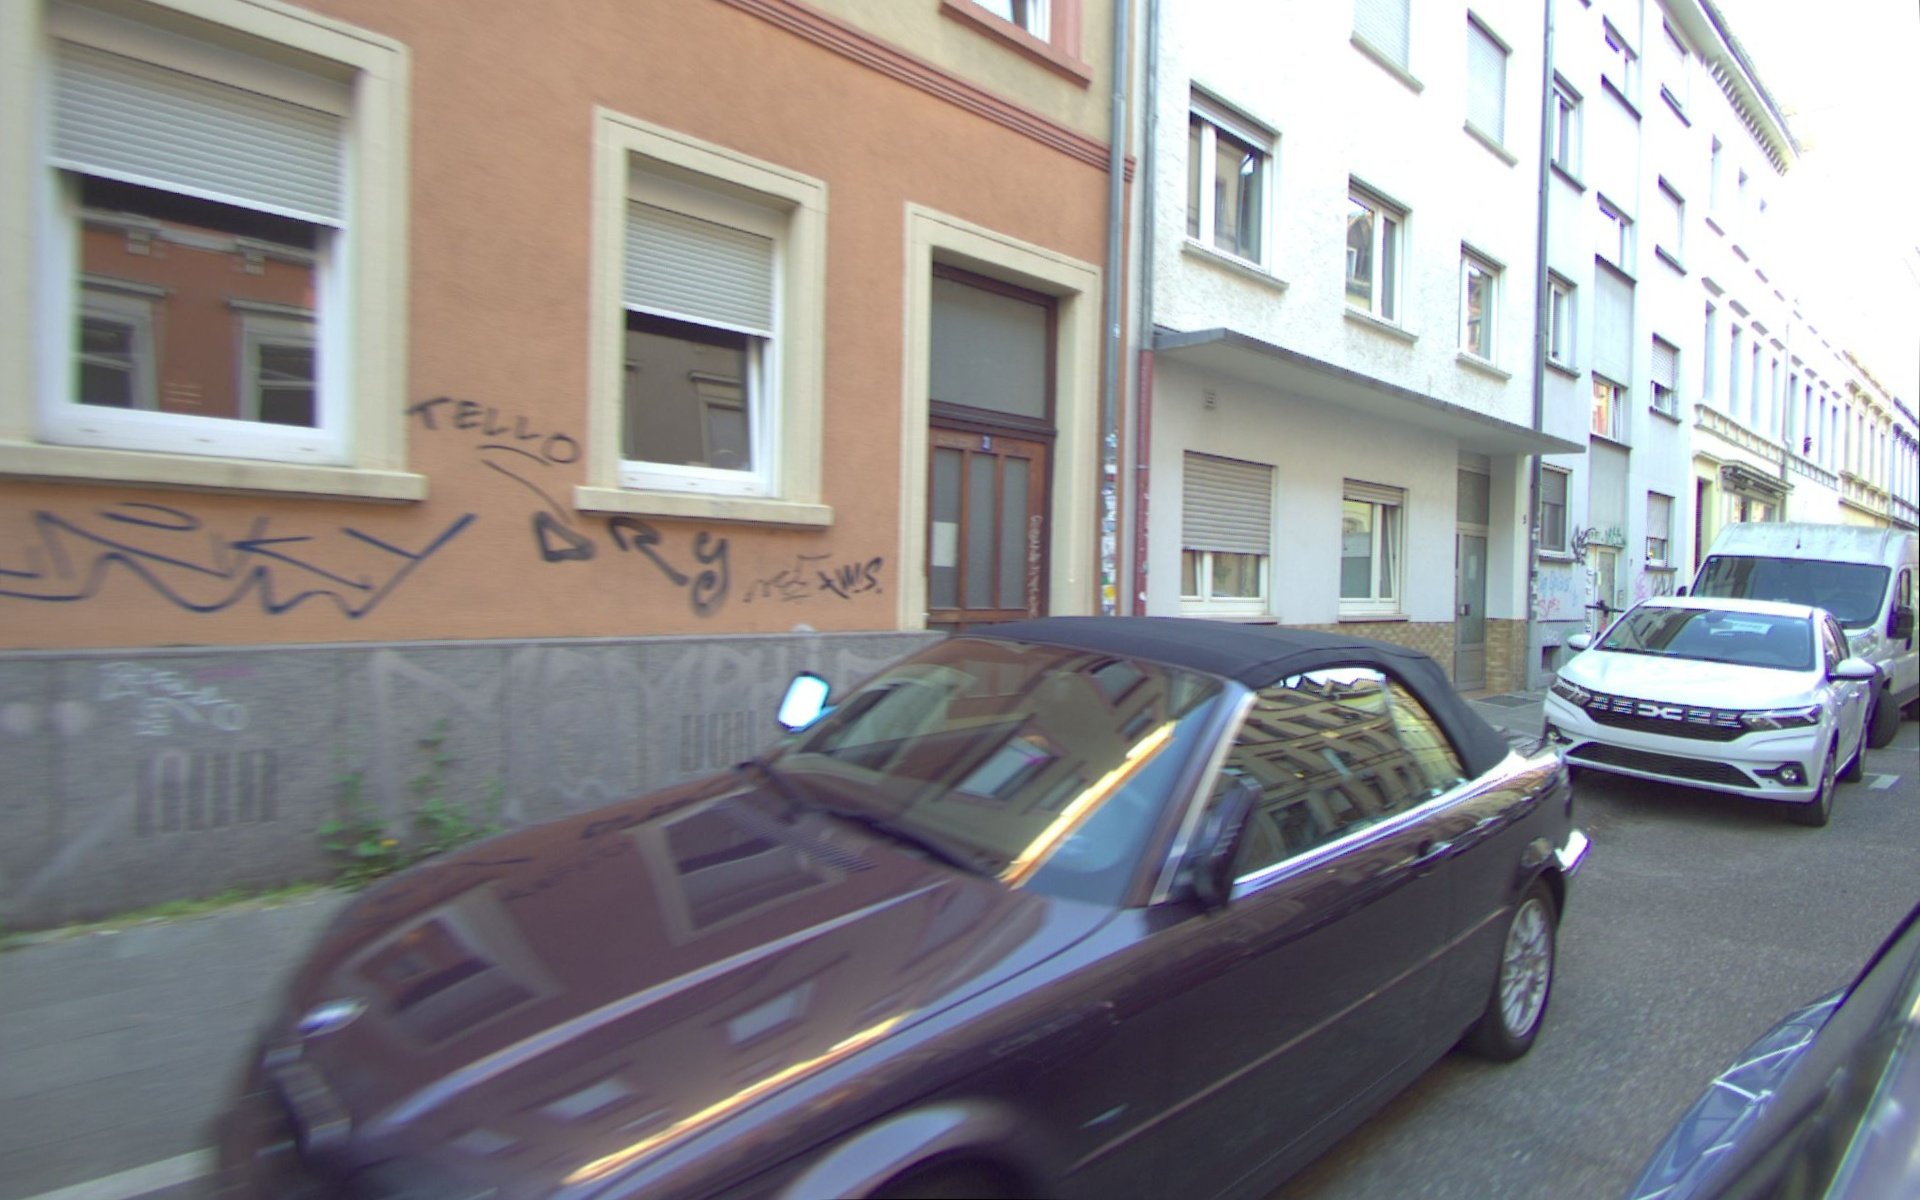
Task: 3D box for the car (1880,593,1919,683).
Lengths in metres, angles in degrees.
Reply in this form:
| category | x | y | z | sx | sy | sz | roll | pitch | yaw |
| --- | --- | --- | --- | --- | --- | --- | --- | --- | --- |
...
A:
| category | x | y | z | sx | sy | sz | roll | pitch | yaw |
| --- | --- | --- | --- | --- | --- | --- | --- | --- | --- |
| car | 18.604 | 0.664 | 18.887 | 3.792 | 1.585 | 1.682 | 0 | 0 | -41 |

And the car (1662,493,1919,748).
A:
| category | x | y | z | sx | sy | sz | roll | pitch | yaw |
| --- | --- | --- | --- | --- | --- | --- | --- | --- | --- |
| car | 11.074 | 0.195 | 12.797 | 5.915 | 2.545 | 2.049 | 0 | 0 | -39 |

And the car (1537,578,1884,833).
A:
| category | x | y | z | sx | sy | sz | roll | pitch | yaw |
| --- | --- | --- | --- | --- | --- | --- | --- | --- | --- |
| car | 6.204 | 0.647 | 8.201 | 3.796 | 1.579 | 1.680 | 0 | 0 | -44 |

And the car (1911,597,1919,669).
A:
| category | x | y | z | sx | sy | sz | roll | pitch | yaw |
| --- | --- | --- | --- | --- | --- | --- | --- | --- | --- |
| car | 22.344 | 0.691 | 22.318 | 3.793 | 1.539 | 1.681 | 0 | 0 | -42 |

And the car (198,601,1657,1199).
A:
| category | x | y | z | sx | sy | sz | roll | pitch | yaw |
| --- | --- | --- | --- | --- | --- | --- | --- | --- | --- |
| car | 0.494 | 0.717 | 3.117 | 4.418 | 1.412 | 1.769 | 0 | 0 | -42 |

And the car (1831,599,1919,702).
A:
| category | x | y | z | sx | sy | sz | roll | pitch | yaw |
| --- | --- | --- | --- | --- | --- | --- | --- | --- | --- |
| car | 15.024 | 0.719 | 15.774 | 3.793 | 1.461 | 1.682 | 0 | 0 | -41 |
